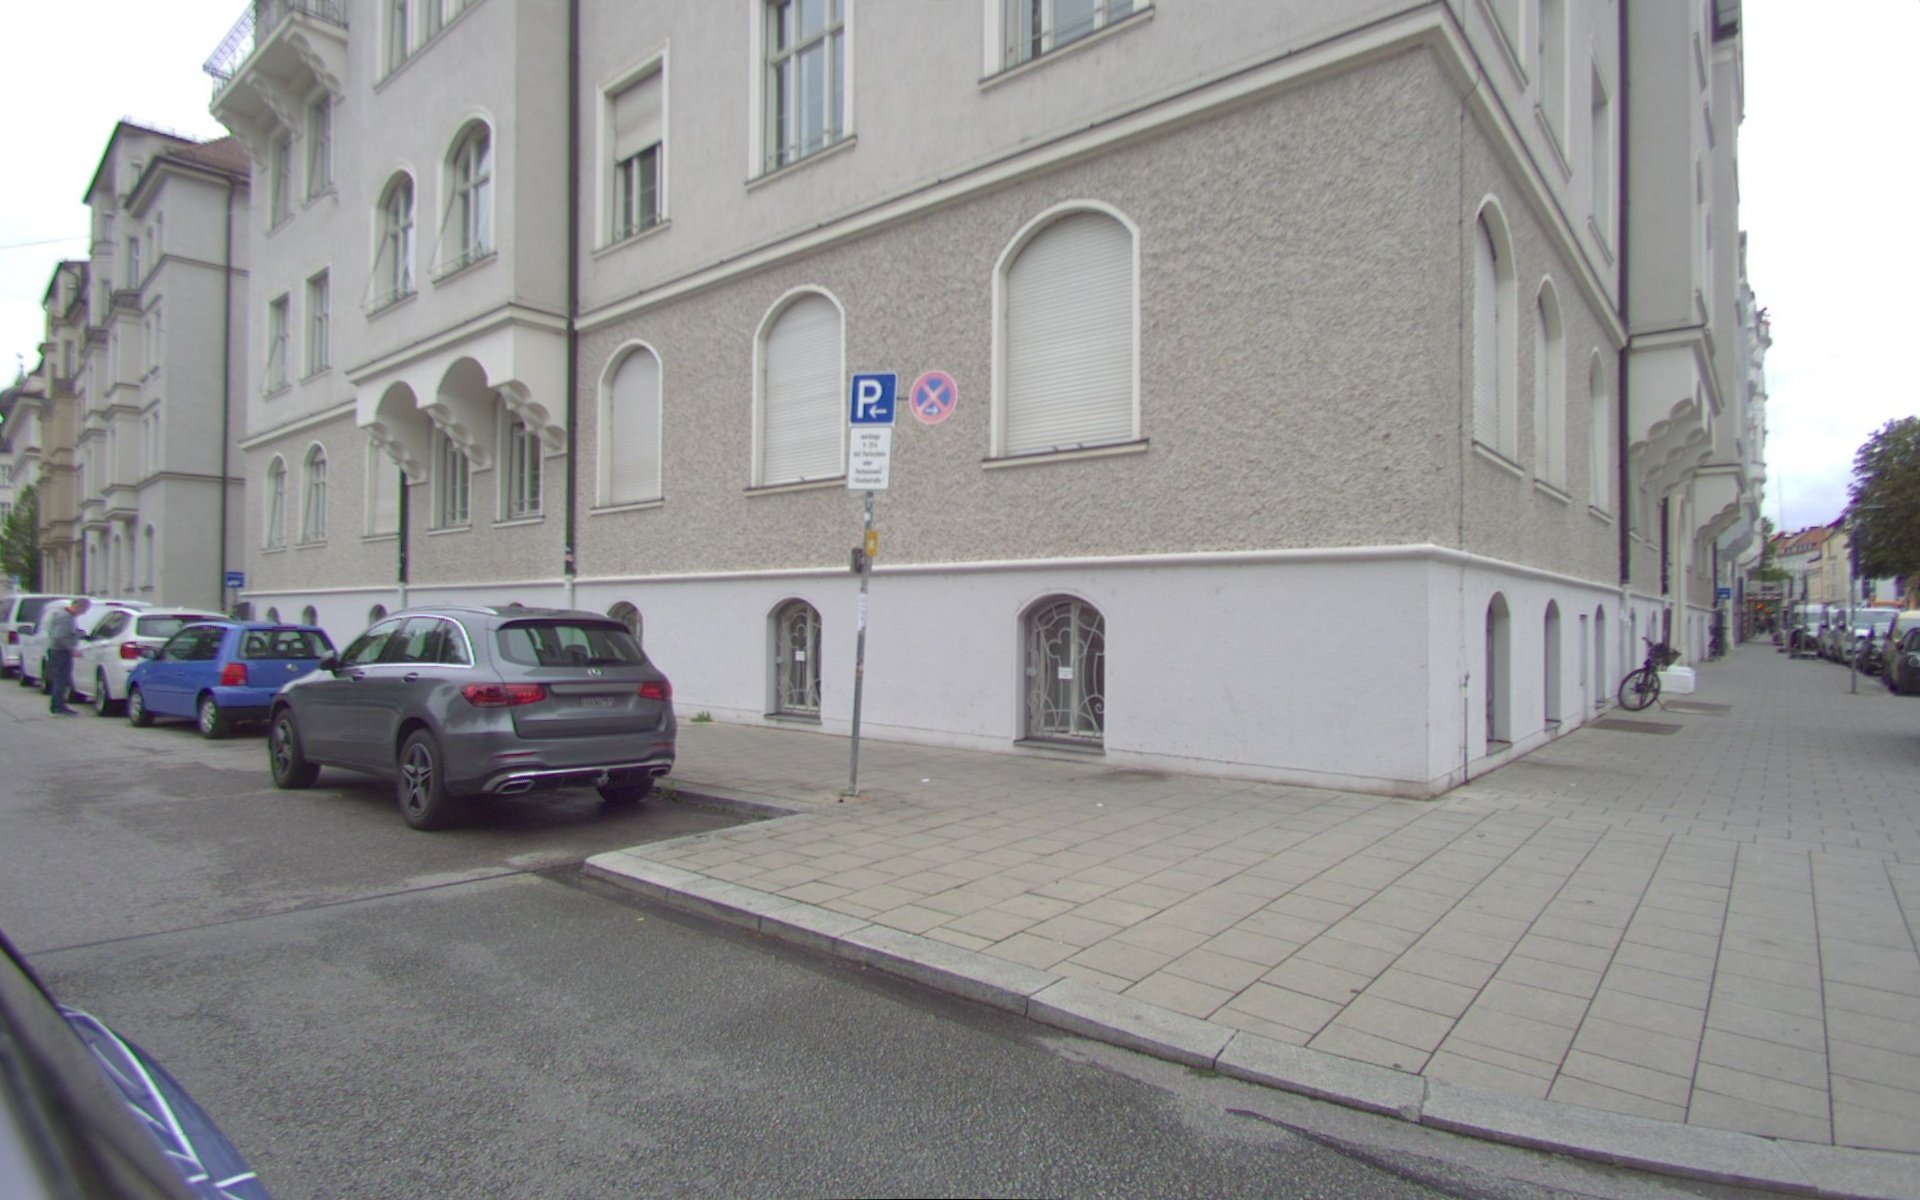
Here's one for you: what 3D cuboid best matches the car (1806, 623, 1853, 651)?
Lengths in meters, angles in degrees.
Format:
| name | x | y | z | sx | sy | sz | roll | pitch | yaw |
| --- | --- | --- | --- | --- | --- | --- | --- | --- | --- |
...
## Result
| name | x | y | z | sx | sy | sz | roll | pitch | yaw |
| --- | --- | --- | --- | --- | --- | --- | --- | --- | --- |
| car | 44.829 | 1.884 | 52.225 | 1.696 | 1.356 | 3.492 | -1 | -2 | 39 |

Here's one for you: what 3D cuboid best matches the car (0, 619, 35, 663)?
| name | x | y | z | sx | sy | sz | roll | pitch | yaw |
| --- | --- | --- | --- | --- | --- | --- | --- | --- | --- |
| car | -32.365 | 1.322 | 33.677 | 4.377 | 1.423 | 1.836 | -1 | -3 | 41 |

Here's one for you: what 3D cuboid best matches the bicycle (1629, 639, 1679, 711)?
| name | x | y | z | sx | sy | sz | roll | pitch | yaw |
| --- | --- | --- | --- | --- | --- | --- | --- | --- | --- |
| bicycle | 11.065 | 1.168 | 16.117 | 0.491 | 1.057 | 1.806 | -1 | -2 | 40 |

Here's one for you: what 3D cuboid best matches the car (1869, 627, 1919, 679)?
| name | x | y | z | sx | sy | sz | roll | pitch | yaw |
| --- | --- | --- | --- | --- | --- | --- | --- | --- | --- |
| car | 26.514 | 1.449 | 28.051 | 1.695 | 1.356 | 3.493 | -1 | -2 | 38 |

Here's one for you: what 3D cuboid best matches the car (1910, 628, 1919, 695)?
| name | x | y | z | sx | sy | sz | roll | pitch | yaw |
| --- | --- | --- | --- | --- | --- | --- | --- | --- | --- |
| car | 20.076 | 1.247 | 19.933 | 1.696 | 1.356 | 3.631 | -1 | -2 | 39 |

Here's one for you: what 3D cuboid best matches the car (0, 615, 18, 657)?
| name | x | y | z | sx | sy | sz | roll | pitch | yaw |
| --- | --- | --- | --- | --- | --- | --- | --- | --- | --- |
| car | -36.097 | 1.278 | 37.092 | 4.377 | 1.475 | 1.836 | -1 | -3 | 41 |

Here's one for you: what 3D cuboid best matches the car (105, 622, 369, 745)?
| name | x | y | z | sx | sy | sz | roll | pitch | yaw |
| --- | --- | --- | --- | --- | --- | --- | --- | --- | --- |
| car | -9.804 | 1.039 | 13.663 | 3.652 | 1.425 | 1.678 | 0 | -3 | 34 |

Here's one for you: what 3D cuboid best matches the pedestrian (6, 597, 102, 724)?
| name | x | y | z | sx | sy | sz | roll | pitch | yaw |
| --- | --- | --- | --- | --- | --- | --- | --- | --- | --- |
| pedestrian | -13.216 | 0.851 | 14.766 | 0.877 | 1.769 | 0.950 | -1 | -2 | 43 |

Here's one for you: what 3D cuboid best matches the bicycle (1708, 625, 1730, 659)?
| name | x | y | z | sx | sy | sz | roll | pitch | yaw |
| --- | --- | --- | --- | --- | --- | --- | --- | --- | --- |
| bicycle | 24.792 | 1.353 | 33.042 | 0.491 | 1.057 | 1.806 | -1 | -2 | 40 |

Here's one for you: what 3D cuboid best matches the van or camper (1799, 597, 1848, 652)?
| name | x | y | z | sx | sy | sz | roll | pitch | yaw |
| --- | --- | --- | --- | --- | --- | --- | --- | --- | --- |
| van or camper | 48.794 | 1.316 | 57.249 | 1.999 | 2.935 | 6.351 | 0 | -1 | 40 |

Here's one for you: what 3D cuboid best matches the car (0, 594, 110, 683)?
| name | x | y | z | sx | sy | sz | roll | pitch | yaw |
| --- | --- | --- | --- | --- | --- | --- | --- | --- | --- |
| car | -22.380 | 0.912 | 24.563 | 4.954 | 1.953 | 1.837 | -1 | -3 | 41 |

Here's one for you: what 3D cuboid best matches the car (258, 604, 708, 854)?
| name | x | y | z | sx | sy | sz | roll | pitch | yaw |
| --- | --- | --- | --- | --- | --- | --- | --- | --- | --- |
| car | -4.257 | 0.885 | 8.681 | 4.493 | 1.614 | 1.729 | -1 | -3 | 40 |

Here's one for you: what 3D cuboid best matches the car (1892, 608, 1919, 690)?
| name | x | y | z | sx | sy | sz | roll | pitch | yaw |
| --- | --- | --- | --- | --- | --- | --- | --- | --- | --- |
| car | 23.576 | 1.150 | 23.988 | 2.026 | 1.852 | 4.079 | -1 | -2 | 41 |

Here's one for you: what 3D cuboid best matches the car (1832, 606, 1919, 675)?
| name | x | y | z | sx | sy | sz | roll | pitch | yaw |
| --- | --- | --- | --- | --- | --- | --- | --- | --- | --- |
| car | 30.046 | 1.293 | 32.896 | 2.120 | 2.108 | 4.764 | -1 | -2 | 35 |

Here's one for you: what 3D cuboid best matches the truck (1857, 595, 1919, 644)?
| name | x | y | z | sx | sy | sz | roll | pitch | yaw |
| --- | --- | --- | --- | --- | --- | --- | --- | --- | --- |
| truck | 73.912 | 1.564 | 80.595 | 3.188 | 3.651 | 8.617 | -1 | -2 | 39 |

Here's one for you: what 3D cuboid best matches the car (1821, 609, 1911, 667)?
| name | x | y | z | sx | sy | sz | roll | pitch | yaw |
| --- | --- | --- | --- | --- | --- | --- | --- | --- | --- |
| car | 33.664 | 1.377 | 37.736 | 2.121 | 2.009 | 4.761 | -1 | -2 | 38 |

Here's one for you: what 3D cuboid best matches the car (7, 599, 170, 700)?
| name | x | y | z | sx | sy | sz | roll | pitch | yaw |
| --- | --- | --- | --- | --- | --- | --- | --- | --- | --- |
| car | -17.741 | 0.946 | 20.511 | 5.033 | 1.802 | 1.728 | -1 | -3 | 41 |

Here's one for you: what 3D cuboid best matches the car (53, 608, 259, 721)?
| name | x | y | z | sx | sy | sz | roll | pitch | yaw |
| --- | --- | --- | --- | --- | --- | --- | --- | --- | --- |
| car | -13.260 | 0.974 | 16.596 | 4.493 | 1.614 | 1.729 | -1 | -3 | 40 |
